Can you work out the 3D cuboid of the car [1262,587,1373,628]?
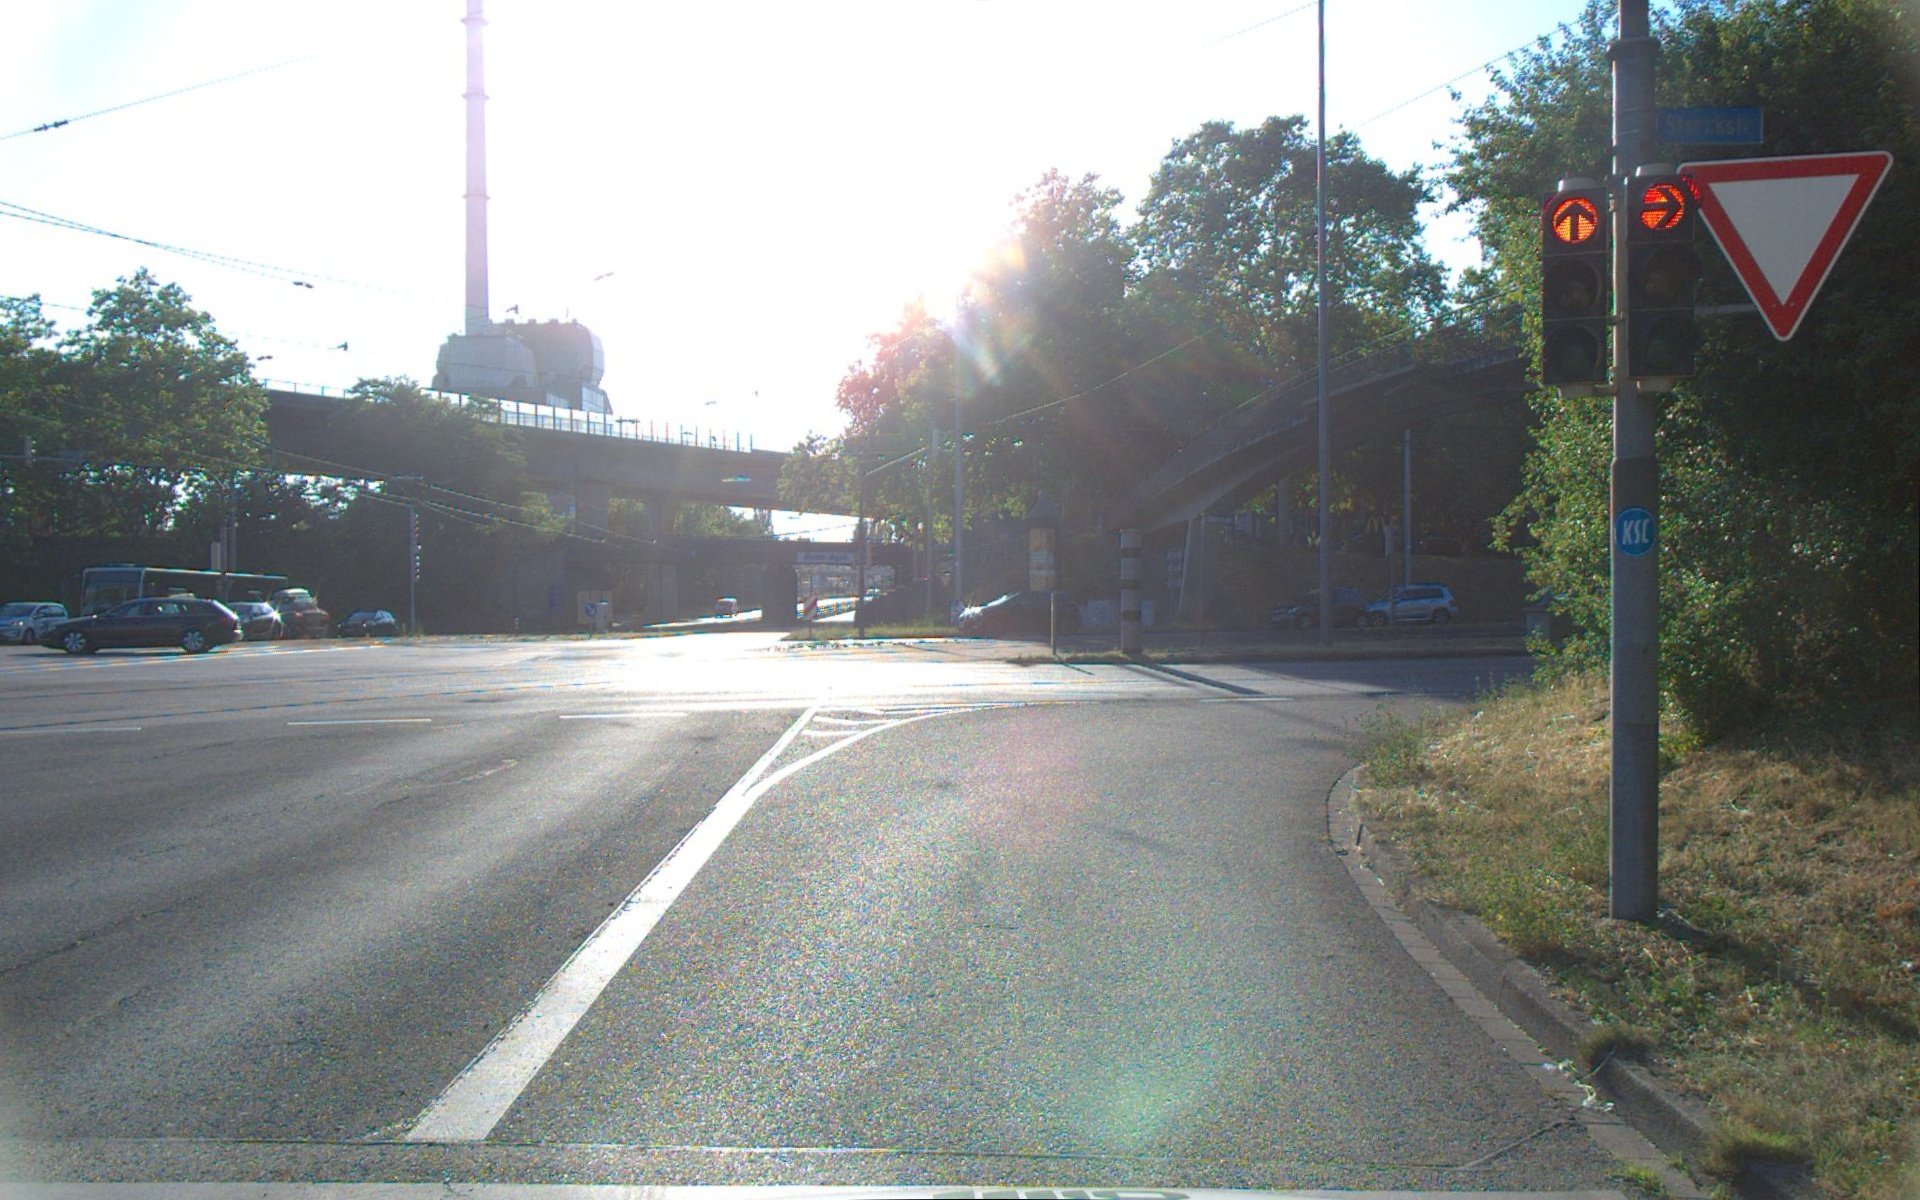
[{"bbox_3d":[13.066,0.277,60.419,3.666,1.447,1.687,0,0,-20],"label":"car"}]

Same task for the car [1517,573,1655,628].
[{"bbox_3d":[23.017,0.021,60.824,4.622,1.939,1.988,0,0,-21],"label":"car"}]

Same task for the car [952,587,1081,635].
[{"bbox_3d":[1.761,0.348,51.734,3.666,1.447,1.687,0,0,-20],"label":"car"}]

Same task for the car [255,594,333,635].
[{"bbox_3d":[-28.248,0.593,70.303,1.676,1.681,4.095,0,0,0],"label":"car"}]

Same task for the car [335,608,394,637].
[{"bbox_3d":[-31.218,1.156,86.811,1.665,1.467,4.000,0,0,0],"label":"car"}]

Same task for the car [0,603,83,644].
[{"bbox_3d":[-32.130,0.801,57.335,1.572,1.378,3.732,0,0,-3],"label":"car"}]

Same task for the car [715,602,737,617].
[{"bbox_3d":[-25.835,1.043,182.703,1.675,1.681,4.096,0,0,2],"label":"car"}]

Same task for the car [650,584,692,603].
[{"bbox_3d":[-28.777,-0.654,164.632,1.957,1.802,3.991,1,0,31],"label":"car"}]

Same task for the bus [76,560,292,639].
[{"bbox_3d":[-32.117,-0.034,69.308,2.764,3.006,12.855,0,0,1],"label":"bus"}]

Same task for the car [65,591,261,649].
[{"bbox_3d":[-21.131,0.521,44.061,4.450,1.479,1.989,0,0,-19],"label":"car"}]

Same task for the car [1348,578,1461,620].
[{"bbox_3d":[18.209,-0.046,67.811,4.125,1.681,1.714,0,0,-7],"label":"car"}]
